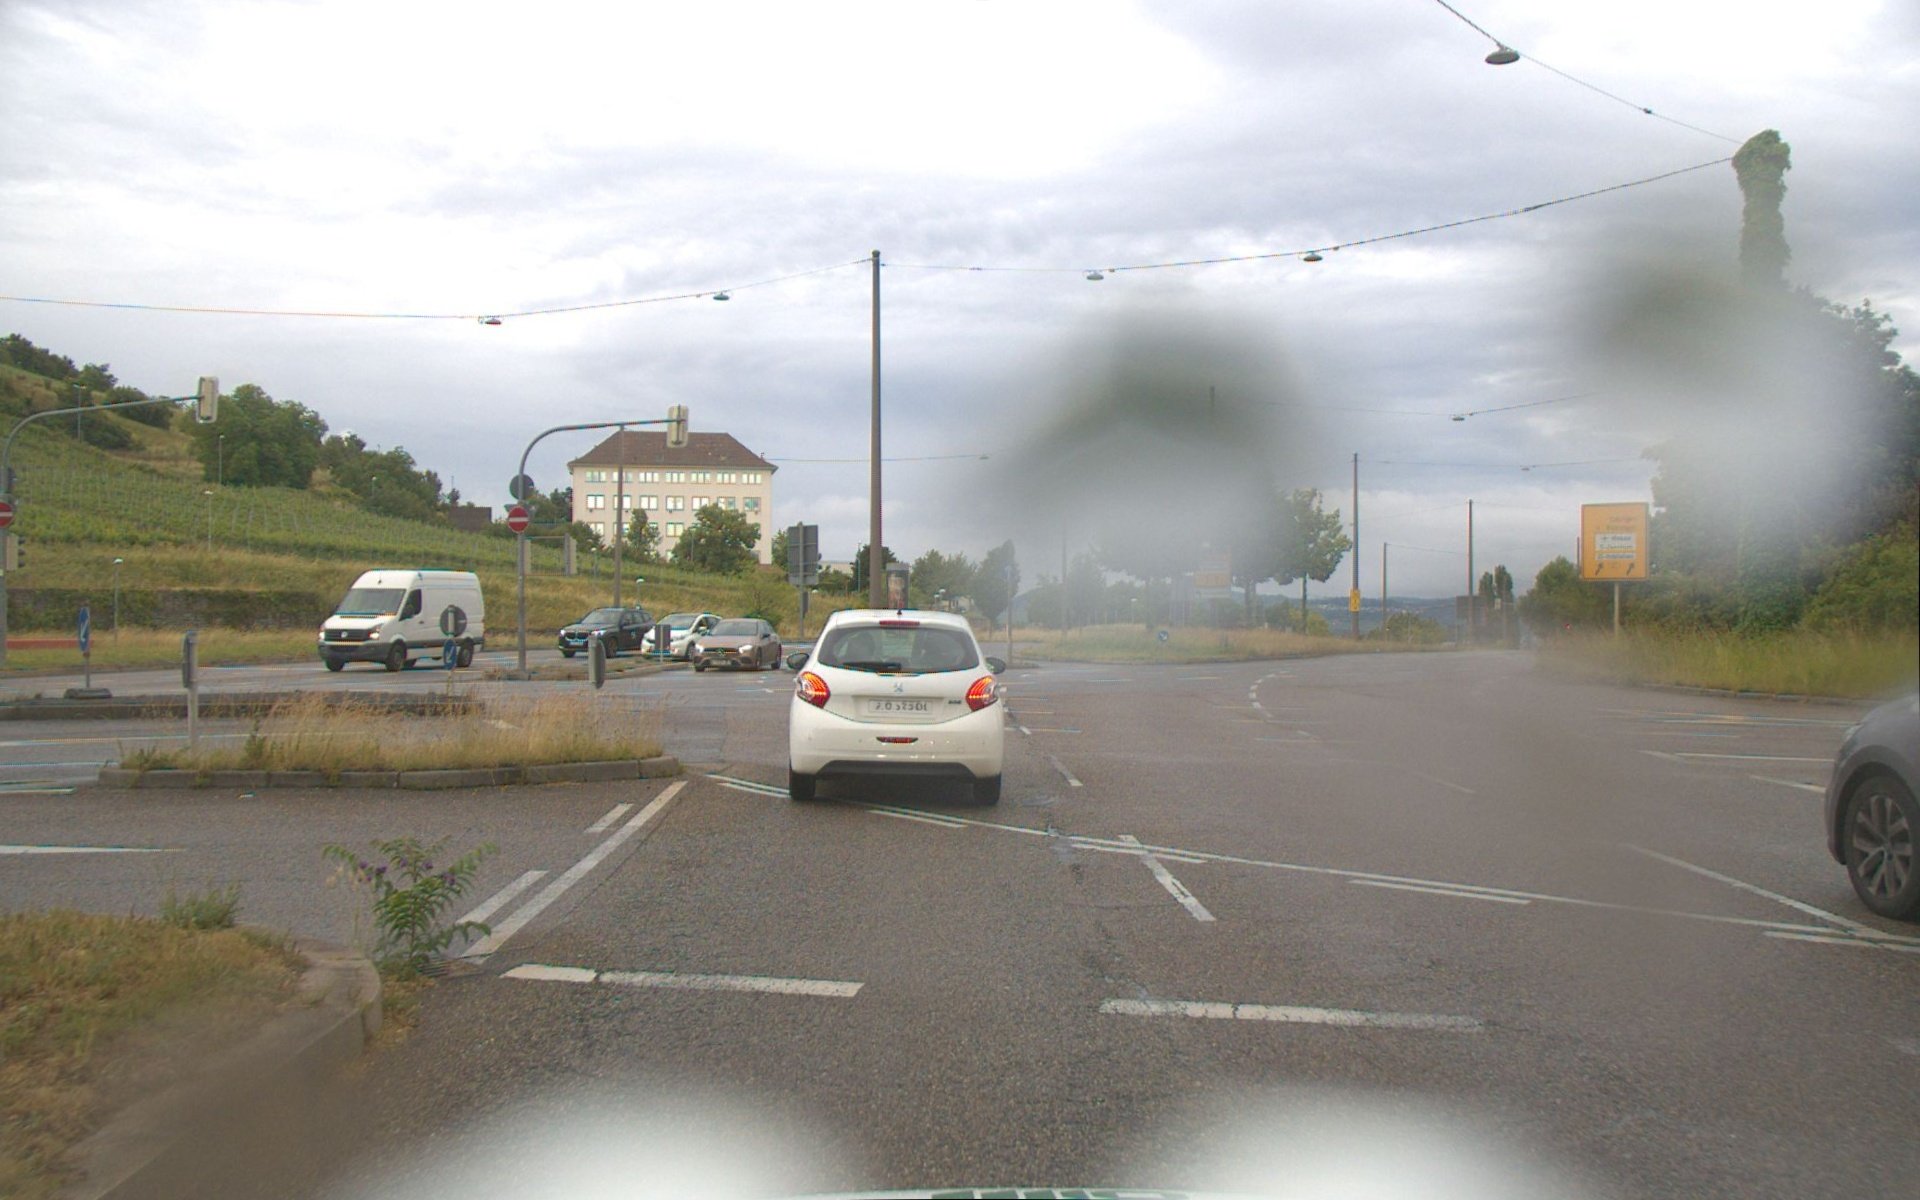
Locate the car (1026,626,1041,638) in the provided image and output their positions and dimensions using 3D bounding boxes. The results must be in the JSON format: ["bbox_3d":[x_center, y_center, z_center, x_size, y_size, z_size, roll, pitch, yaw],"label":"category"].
[{"bbox_3d":[10.134,4.416,229.241,1.804,1.512,3.998,0,0,-2],"label":"car"}]

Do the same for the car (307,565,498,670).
[{"bbox_3d":[-14.961,0.500,44.855,1.951,2.604,6.174,2,-1,12],"label":"car"}]

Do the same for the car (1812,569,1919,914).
[{"bbox_3d":[5.695,0.708,6.907,1.827,1.704,4.564,1,0,-1],"label":"car"}]

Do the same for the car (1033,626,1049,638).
[{"bbox_3d":[10.751,4.312,220.861,1.804,1.512,3.998,0,0,-2],"label":"car"}]

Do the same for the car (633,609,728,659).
[{"bbox_3d":[-9.133,1.118,54.421,1.713,1.539,4.003,2,-1,11],"label":"car"}]

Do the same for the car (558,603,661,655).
[{"bbox_3d":[-11.955,0.994,56.707,1.738,1.665,4.512,2,-1,12],"label":"car"}]

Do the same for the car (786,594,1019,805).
[{"bbox_3d":[-0.443,0.757,14.111,1.683,1.515,3.999,1,-1,-1],"label":"car"}]

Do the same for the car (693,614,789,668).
[{"bbox_3d":[-6.061,1.137,46.219,1.738,1.450,4.376,0,-1,5],"label":"car"}]
